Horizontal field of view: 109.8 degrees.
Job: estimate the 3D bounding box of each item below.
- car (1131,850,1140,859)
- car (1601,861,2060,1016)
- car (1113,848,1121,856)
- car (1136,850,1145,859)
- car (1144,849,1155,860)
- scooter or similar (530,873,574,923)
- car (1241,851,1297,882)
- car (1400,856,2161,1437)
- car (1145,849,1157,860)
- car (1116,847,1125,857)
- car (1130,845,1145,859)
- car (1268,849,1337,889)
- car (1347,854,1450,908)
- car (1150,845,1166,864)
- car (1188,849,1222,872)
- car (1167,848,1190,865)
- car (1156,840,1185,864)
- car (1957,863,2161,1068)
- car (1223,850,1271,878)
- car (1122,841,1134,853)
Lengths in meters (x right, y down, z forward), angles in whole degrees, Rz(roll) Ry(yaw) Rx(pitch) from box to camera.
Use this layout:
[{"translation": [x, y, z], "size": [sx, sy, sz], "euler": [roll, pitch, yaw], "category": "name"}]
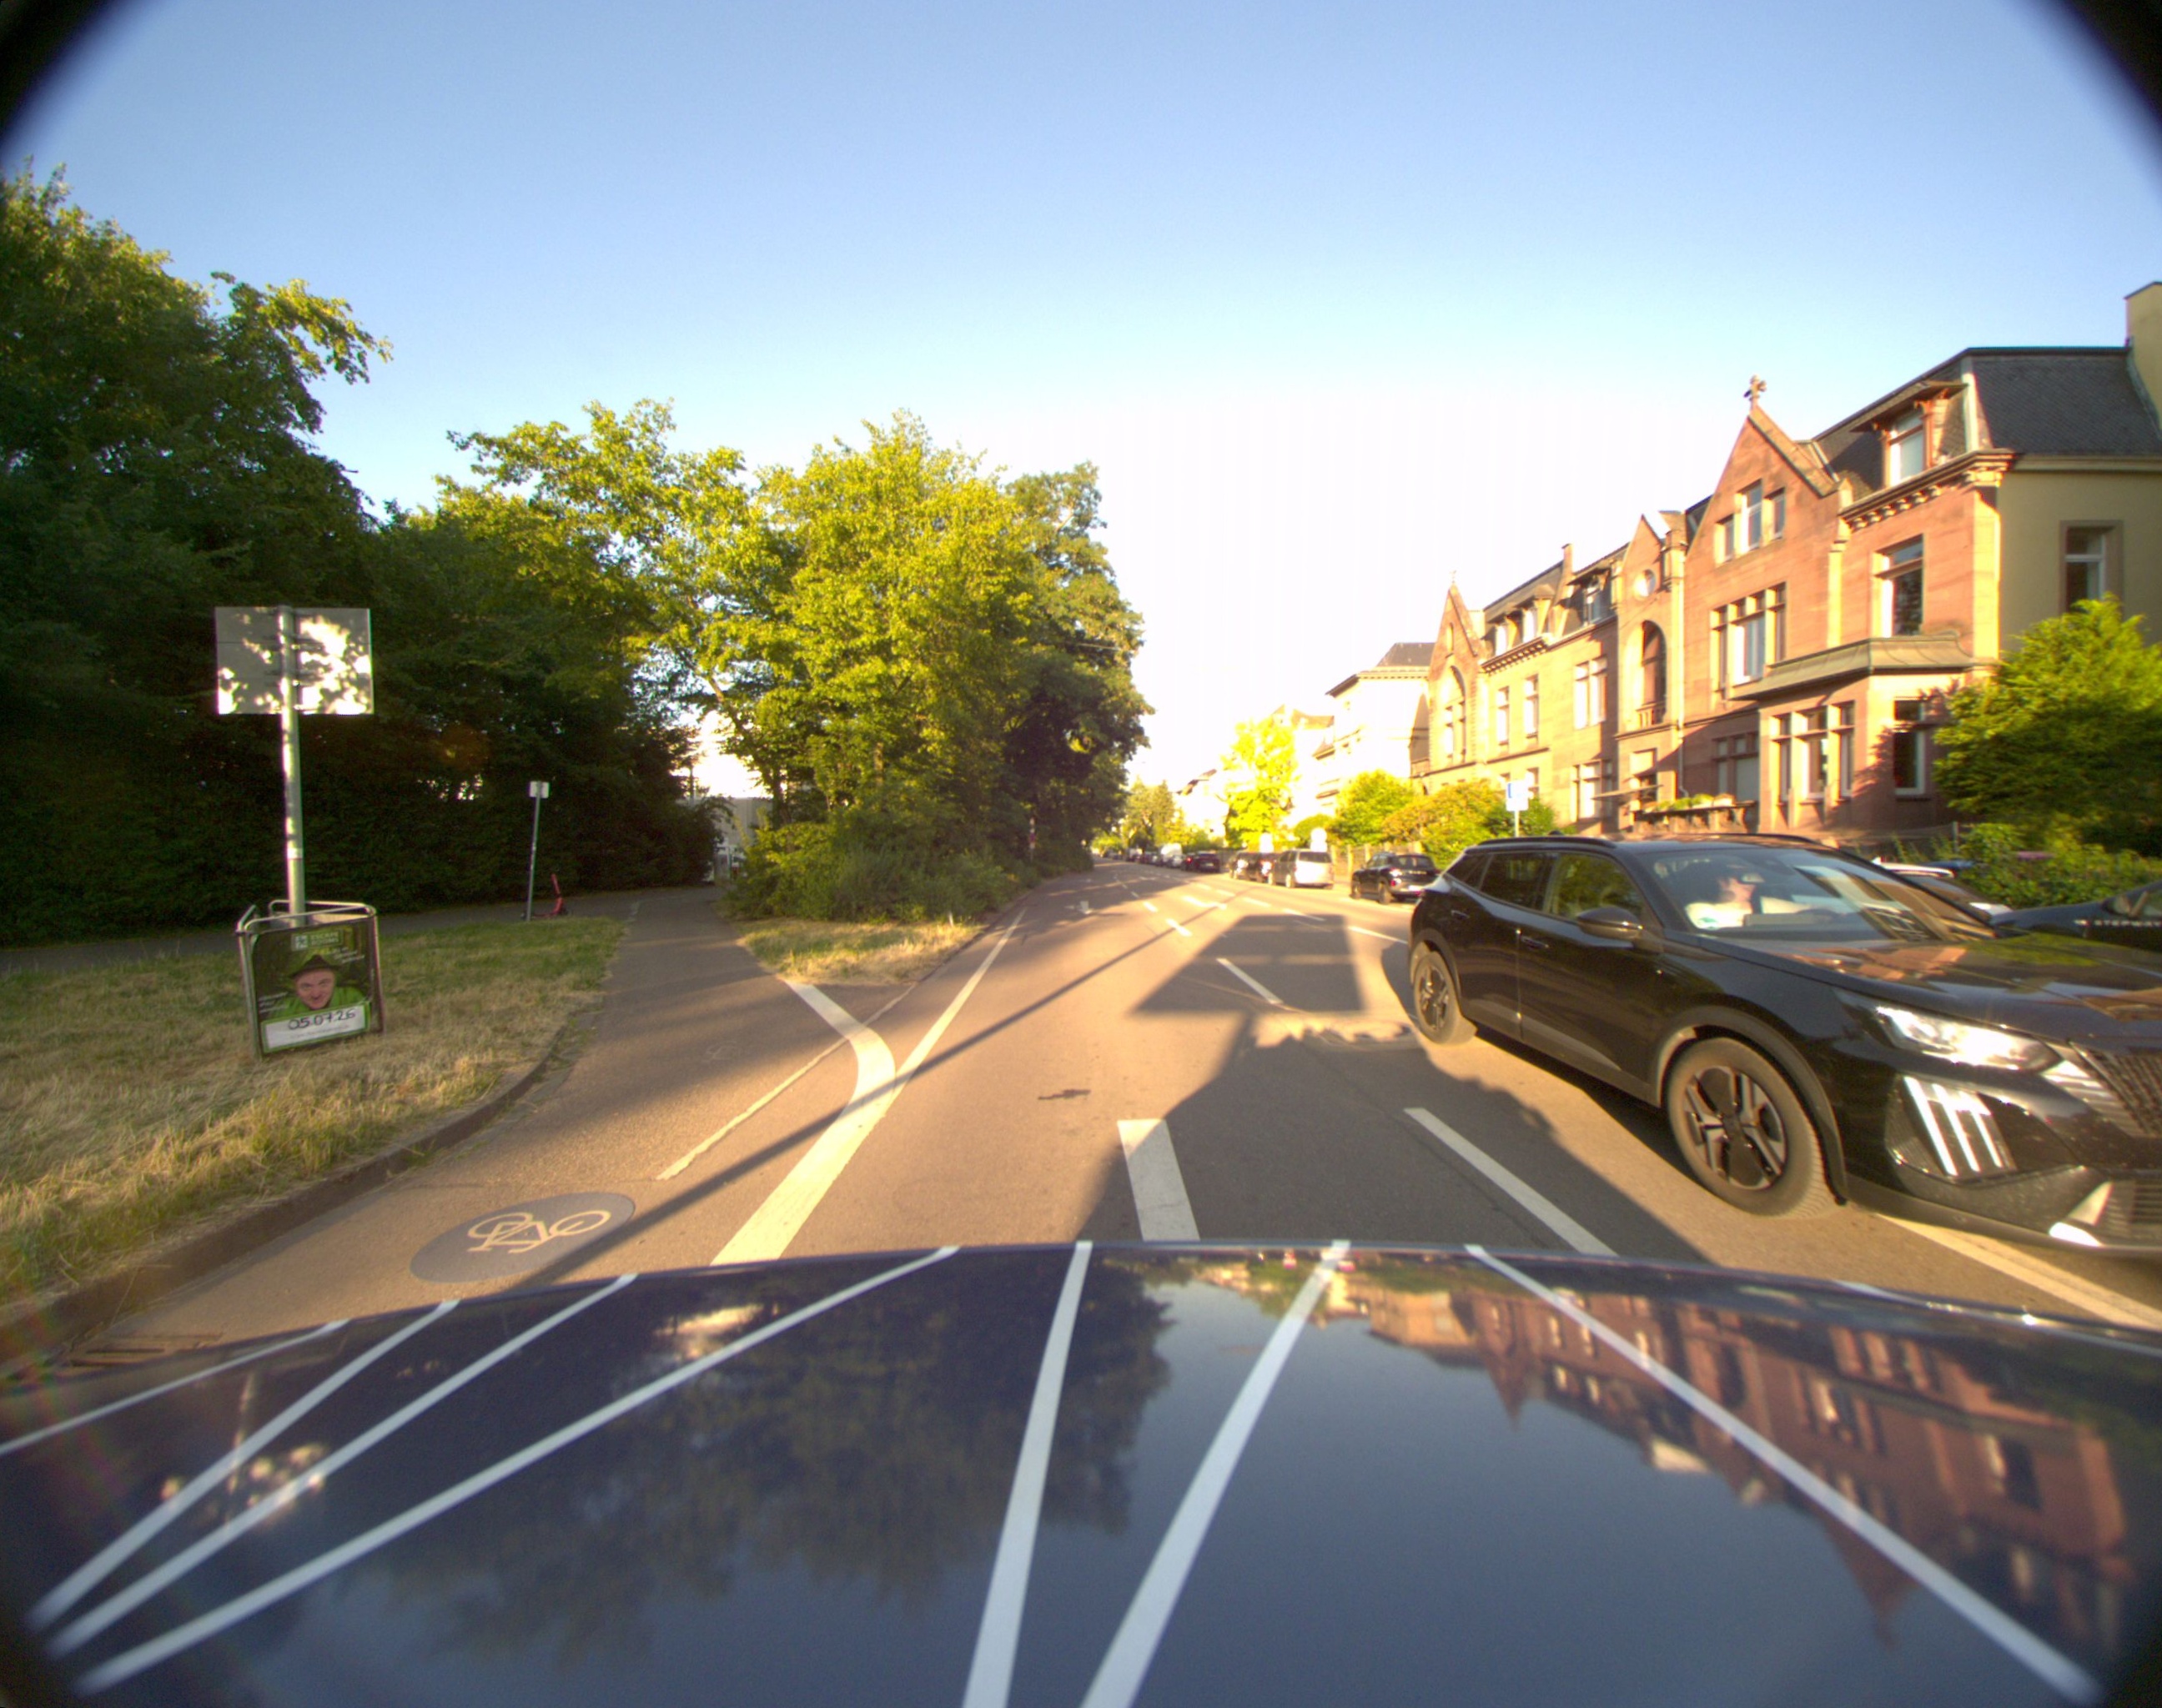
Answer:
[{"translation": [8.951, 0.022, 124.679], "size": [1.220, 1.430, 2.515], "euler": [0, 0, 1], "category": "car"}, {"translation": [8.981, 0.861, 9.799], "size": [1.608, 1.435, 4.433], "euler": [2, 0, 2], "category": "car"}, {"translation": [9.684, -0.594, 203.119], "size": [1.998, 2.002, 4.000], "euler": [0, 0, 1], "category": "car"}, {"translation": [9.004, 0.041, 114.646], "size": [1.220, 1.430, 2.515], "euler": [0, 0, 1], "category": "car"}, {"translation": [9.167, 0.042, 101.779], "size": [1.327, 1.430, 2.697], "euler": [0, 0, 1], "category": "car"}, {"translation": [-11.808, 0.972, 16.966], "size": [0.194, 1.079, 0.837], "euler": [-2, 0, 15], "category": "scooter or similar"}, {"translation": [9.008, 0.571, 36.699], "size": [1.716, 1.442, 3.722], "euler": [0, 0, -1], "category": "car"}, {"translation": [3.382, 0.794, 4.047], "size": [1.682, 1.527, 3.999], "euler": [0, 0, 0], "category": "car"}, {"translation": [9.028, 0.061, 97.572], "size": [1.292, 1.430, 2.883], "euler": [0, 0, 1], "category": "car"}, {"translation": [8.847, -0.495, 170.526], "size": [1.998, 2.002, 4.000], "euler": [-2, 1, 2], "category": "car"}, {"translation": [9.659, -0.350, 130.574], "size": [2.203, 2.201, 4.527], "euler": [0, 0, 1], "category": "car"}, {"translation": [9.134, 0.579, 31.624], "size": [1.716, 1.579, 3.752], "euler": [0, 0, -1], "category": "car"}, {"translation": [9.204, 0.719, 22.336], "size": [1.631, 1.437, 3.566], "euler": [0, 0, 2], "category": "car"}, {"translation": [9.294, 0.070, 92.114], "size": [1.571, 2.253, 3.800], "euler": [0, 0, 1], "category": "car"}, {"translation": [9.041, 0.442, 55.568], "size": [1.880, 1.596, 3.723], "euler": [0, 0, 1], "category": "car"}, {"translation": [9.341, 0.232, 72.991], "size": [1.715, 1.596, 3.853], "euler": [0, 0, 1], "category": "car"}, {"translation": [9.321, -0.210, 79.822], "size": [2.231, 2.355, 5.878], "euler": [0, 0, -1], "category": "car"}, {"translation": [8.987, 0.886, 5.227], "size": [1.631, 1.526, 3.723], "euler": [2, 0, 2], "category": "car"}, {"translation": [8.933, 0.524, 41.197], "size": [1.716, 1.442, 3.722], "euler": [0, 0, -1], "category": "car"}, {"translation": [9.633, -1.416, 155.306], "size": [1.999, 2.442, 5.579], "euler": [0, 0, -1], "category": "car"}]
